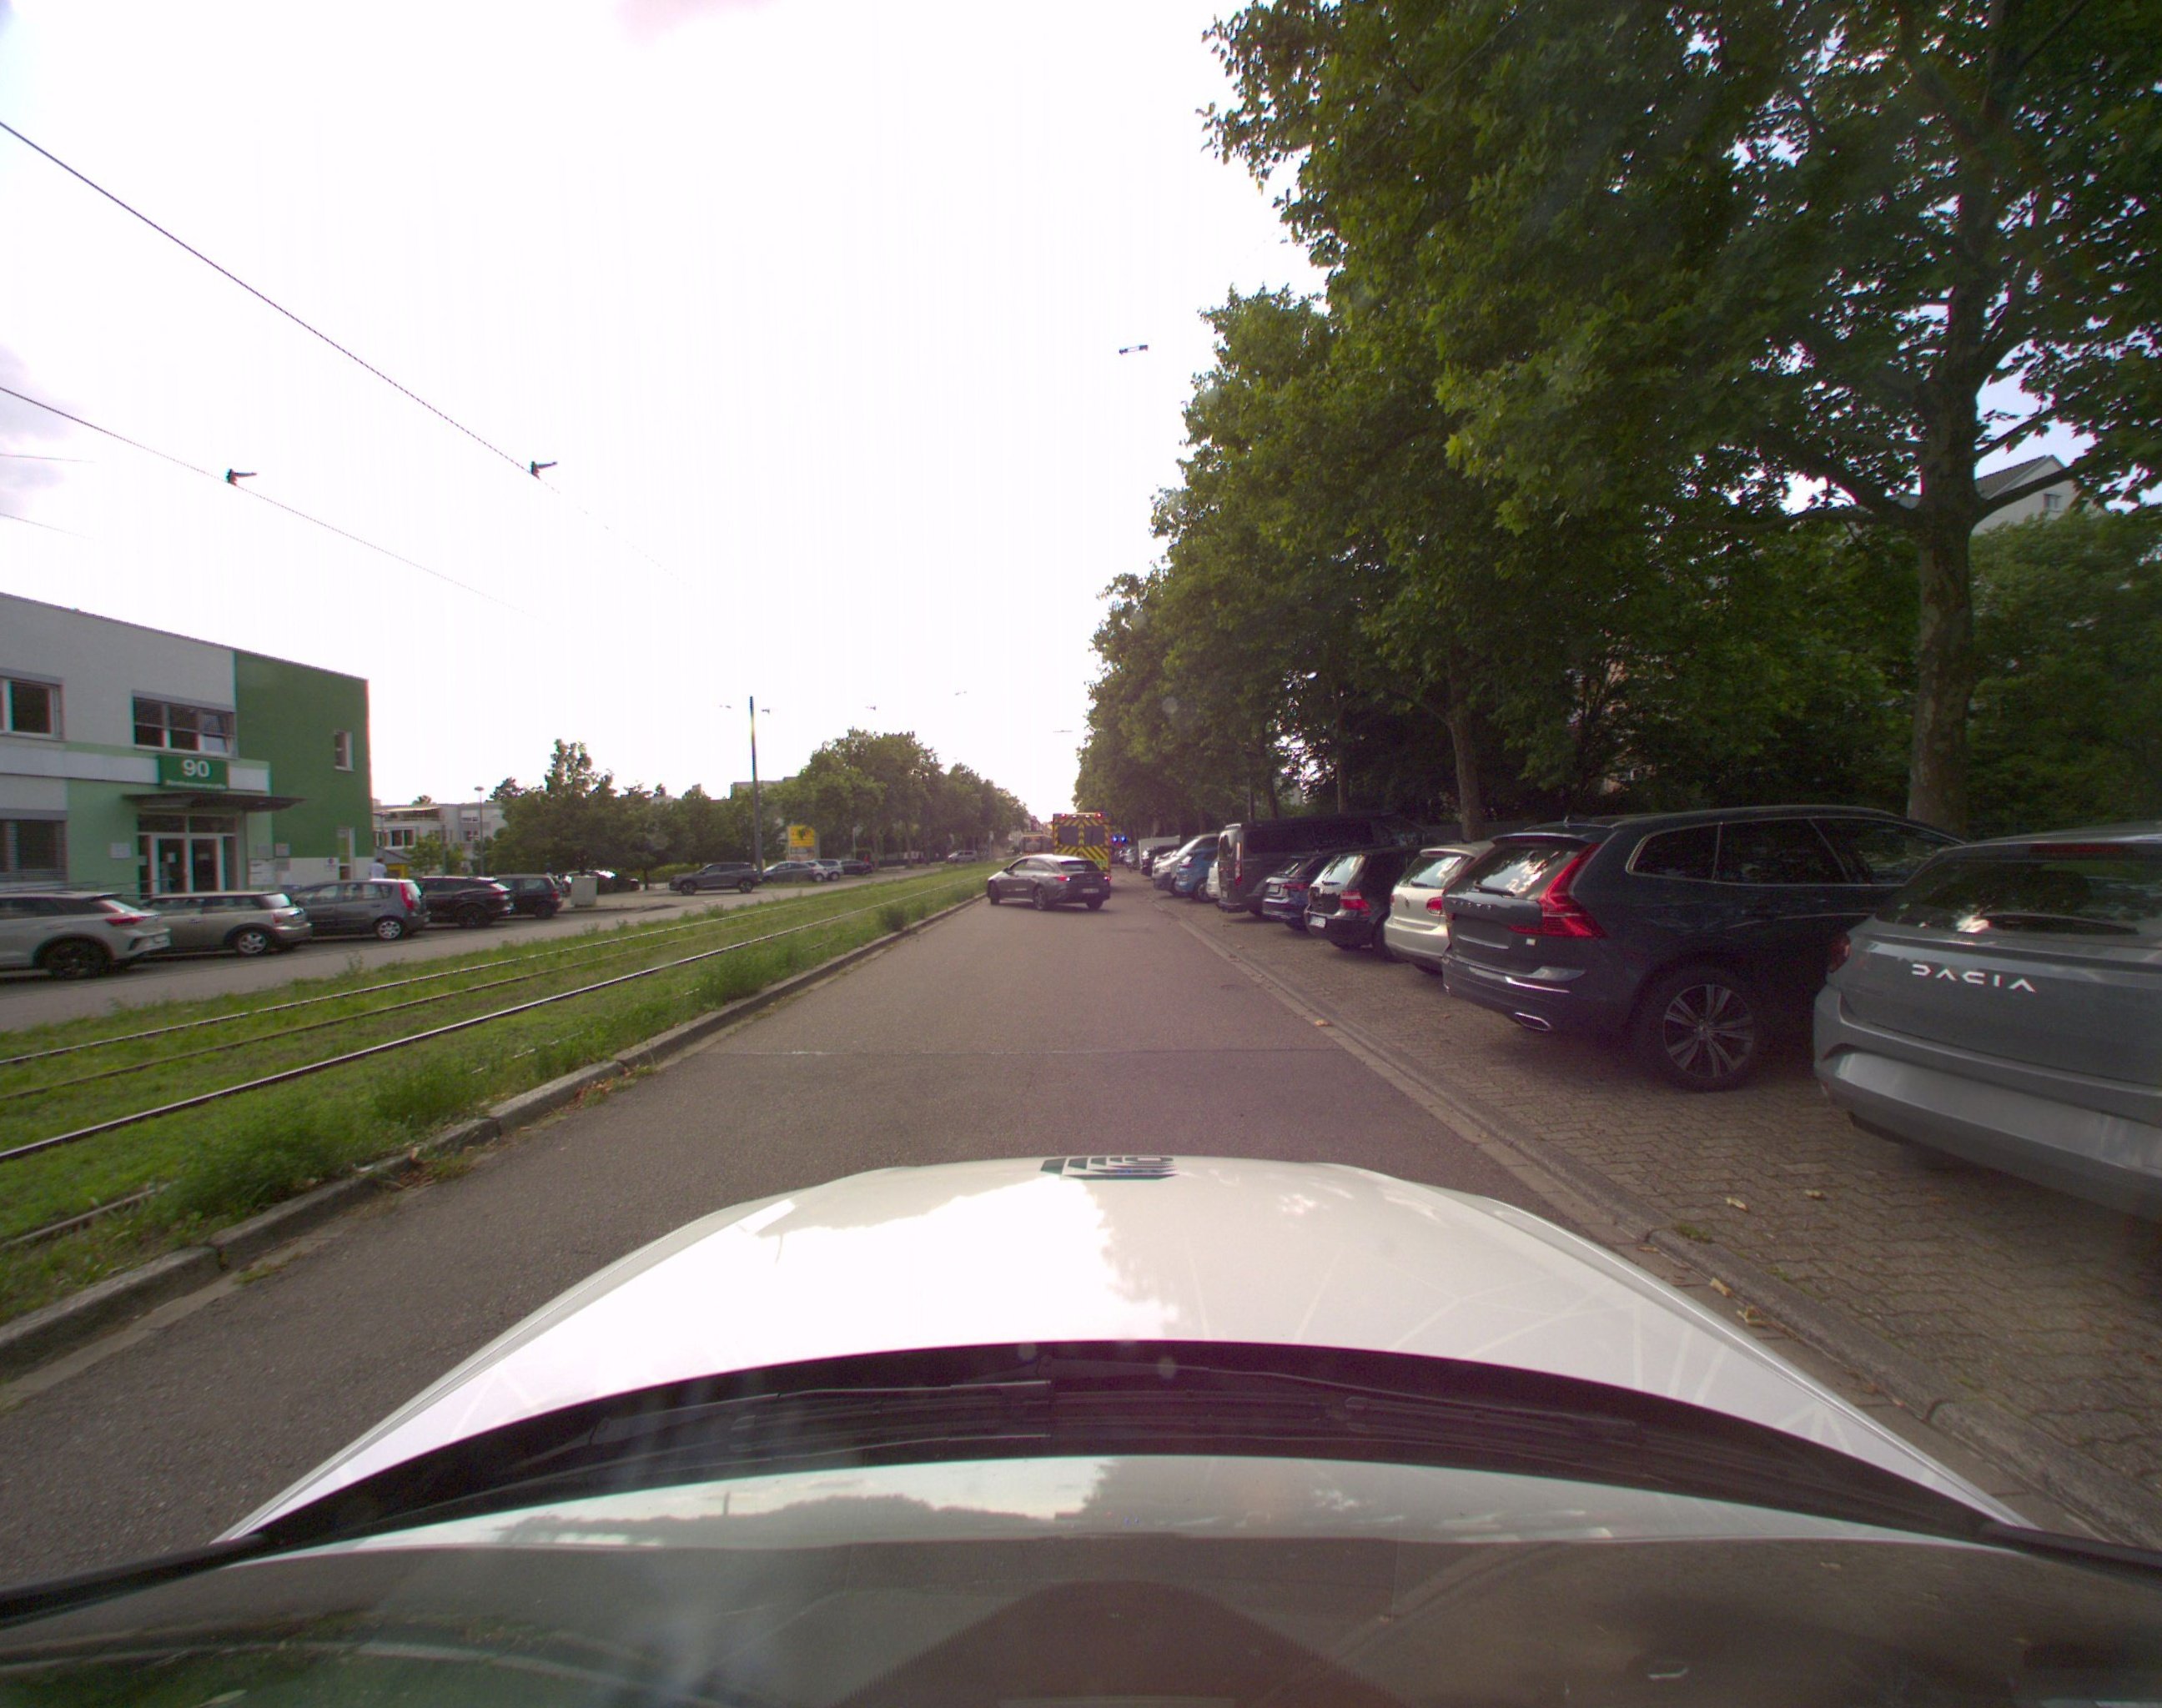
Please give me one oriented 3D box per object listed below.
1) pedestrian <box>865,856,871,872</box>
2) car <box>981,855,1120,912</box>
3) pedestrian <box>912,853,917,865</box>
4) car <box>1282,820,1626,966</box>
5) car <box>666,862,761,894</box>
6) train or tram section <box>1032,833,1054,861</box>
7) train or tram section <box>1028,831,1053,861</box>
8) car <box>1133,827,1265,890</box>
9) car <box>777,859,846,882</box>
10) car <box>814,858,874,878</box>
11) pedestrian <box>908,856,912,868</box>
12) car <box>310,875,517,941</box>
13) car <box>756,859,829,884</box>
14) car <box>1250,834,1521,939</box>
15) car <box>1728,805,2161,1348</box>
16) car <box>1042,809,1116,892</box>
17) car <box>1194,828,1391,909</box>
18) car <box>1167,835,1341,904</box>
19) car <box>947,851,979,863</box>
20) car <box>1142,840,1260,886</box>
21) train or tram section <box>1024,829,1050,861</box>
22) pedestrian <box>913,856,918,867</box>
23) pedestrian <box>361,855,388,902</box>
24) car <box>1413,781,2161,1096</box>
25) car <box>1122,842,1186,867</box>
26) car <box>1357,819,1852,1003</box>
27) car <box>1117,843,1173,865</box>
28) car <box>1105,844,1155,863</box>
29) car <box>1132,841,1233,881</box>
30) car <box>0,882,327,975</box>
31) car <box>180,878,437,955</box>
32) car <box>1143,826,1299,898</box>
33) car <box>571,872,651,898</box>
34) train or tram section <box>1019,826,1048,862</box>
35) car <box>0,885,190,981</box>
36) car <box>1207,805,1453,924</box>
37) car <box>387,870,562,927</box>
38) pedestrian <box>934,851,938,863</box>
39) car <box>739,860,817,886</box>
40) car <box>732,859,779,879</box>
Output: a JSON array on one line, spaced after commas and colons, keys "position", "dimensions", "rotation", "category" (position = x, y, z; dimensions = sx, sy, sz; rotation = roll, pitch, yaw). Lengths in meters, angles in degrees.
[{"position": [-23.156, 1.056, 88.525], "dimensions": [0.465, 1.676, 0.603], "rotation": [-2, 0, -2], "category": "pedestrian"}, {"position": [-0.948, 0.717, 22.230], "dimensions": [1.773, 1.385, 4.421], "rotation": [0, 0, -34], "category": "car"}, {"position": [-23.193, 0.683, 113.437], "dimensions": [0.631, 1.551, 0.621], "rotation": [-2, 0, -3], "category": "pedestrian"}, {"position": [4.999, 0.467, 11.142], "dimensions": [3.967, 1.605, 1.750], "rotation": [-3, 0, -11], "category": "car"}, {"position": [-18.408, 1.177, 40.890], "dimensions": [4.242, 1.482, 1.868], "rotation": [-1, 0, -25], "category": "car"}, {"position": [-5.111, -0.858, 111.471], "dimensions": [2.504, 3.584, 7.443], "rotation": [-3, 0, 0], "category": "train or tram section"}, {"position": [-5.126, -0.921, 104.029], "dimensions": [2.504, 3.584, 7.443], "rotation": [-3, 0, 0], "category": "train or tram section"}, {"position": [4.388, 0.154, 30.683], "dimensions": [4.537, 2.043, 1.853], "rotation": [-3, 0, -4], "category": "car"}, {"position": [-18.819, 1.114, 56.953], "dimensions": [4.253, 1.482, 1.863], "rotation": [-1, 0, -36], "category": "car"}, {"position": [-18.931, 1.117, 65.157], "dimensions": [4.256, 1.482, 1.861], "rotation": [-1, 0, -40], "category": "car"}, {"position": [-21.694, 0.974, 103.375], "dimensions": [0.420, 1.473, 0.467], "rotation": [-2, 0, -5], "category": "pedestrian"}, {"position": [-18.883, 1.480, 23.320], "dimensions": [4.247, 1.482, 1.866], "rotation": [-3, 1, -29], "category": "car"}, {"position": [-19.082, 1.125, 53.921], "dimensions": [4.253, 1.482, 1.863], "rotation": [-1, 0, -36], "category": "car"}, {"position": [5.092, 0.523, 13.994], "dimensions": [3.953, 1.494, 1.755], "rotation": [-3, 0, -1], "category": "car"}, {"position": [5.222, 0.524, 2.902], "dimensions": [4.364, 1.501, 1.757], "rotation": [-3, 0, 1], "category": "car"}, {"position": [0.037, -0.134, 32.690], "dimensions": [2.631, 2.966, 6.302], "rotation": [1, 0, 2], "category": "car"}, {"position": [5.358, 0.345, 21.024], "dimensions": [4.532, 1.766, 1.855], "rotation": [-3, 0, -1], "category": "car"}, {"position": [4.928, 0.423, 23.555], "dimensions": [4.538, 1.660, 1.853], "rotation": [-3, 0, -5], "category": "car"}, {"position": [-18.737, 0.473, 129.690], "dimensions": [4.651, 1.633, 1.861], "rotation": [-3, 0, -39], "category": "car"}, {"position": [4.977, 0.365, 34.158], "dimensions": [4.537, 1.608, 1.853], "rotation": [-3, 0, -4], "category": "car"}, {"position": [-5.133, -0.984, 96.585], "dimensions": [2.504, 3.584, 7.443], "rotation": [-3, 0, 0], "category": "train or tram section"}, {"position": [-21.410, 0.945, 105.253], "dimensions": [0.417, 1.414, 0.470], "rotation": [-2, 0, 25], "category": "pedestrian"}, {"position": [-27.778, 0.955, 32.012], "dimensions": [0.544, 1.828, 0.508], "rotation": [-2, 0, -2], "category": "pedestrian"}, {"position": [4.837, 0.470, 5.573], "dimensions": [4.364, 1.639, 1.757], "rotation": [-3, 0, 1], "category": "car"}, {"position": [5.422, 0.049, 60.875], "dimensions": [4.537, 1.608, 1.853], "rotation": [-3, 0, -4], "category": "car"}, {"position": [5.153, 0.516, 8.415], "dimensions": [3.953, 1.494, 1.755], "rotation": [-3, 0, -1], "category": "car"}, {"position": [5.541, 0.004, 70.726], "dimensions": [4.537, 1.608, 1.853], "rotation": [-3, 0, -4], "category": "car"}, {"position": [4.742, -0.054, 78.957], "dimensions": [4.537, 1.608, 1.853], "rotation": [-3, 0, -4], "category": "car"}, {"position": [4.859, 0.321, 39.314], "dimensions": [4.537, 1.608, 1.853], "rotation": [-3, 0, -4], "category": "car"}, {"position": [-19.208, 1.489, 17.320], "dimensions": [4.247, 1.482, 1.866], "rotation": [-3, 1, -29], "category": "car"}, {"position": [-18.986, 1.460, 20.315], "dimensions": [4.247, 1.482, 1.866], "rotation": [-3, 1, -29], "category": "car"}, {"position": [4.410, 0.237, 26.089], "dimensions": [4.537, 2.000, 1.853], "rotation": [-3, 0, -4], "category": "car"}, {"position": [-29.476, 1.911, 51.163], "dimensions": [3.971, 1.565, 1.778], "rotation": [0, -1, 2], "category": "car"}, {"position": [-5.133, -1.047, 89.154], "dimensions": [2.504, 3.584, 7.443], "rotation": [-3, 0, 0], "category": "train or tram section"}, {"position": [-19.123, 1.444, 14.342], "dimensions": [4.252, 1.482, 1.863], "rotation": [-3, 1, -34], "category": "car"}, {"position": [5.093, 0.204, 17.099], "dimensions": [4.532, 2.123, 1.855], "rotation": [-3, 0, -1], "category": "car"}, {"position": [-19.444, 1.383, 26.373], "dimensions": [4.247, 1.482, 1.866], "rotation": [-3, 1, -29], "category": "car"}, {"position": [-22.447, 0.530, 125.859], "dimensions": [0.465, 1.828, 0.422], "rotation": [-2, 0, -2], "category": "pedestrian"}, {"position": [-18.946, 1.186, 51.024], "dimensions": [4.253, 1.482, 1.863], "rotation": [-1, 0, -36], "category": "car"}, {"position": [-29.735, 1.383, 74.470], "dimensions": [3.949, 1.750, 2.013], "rotation": [0, 0, 31], "category": "car"}]
